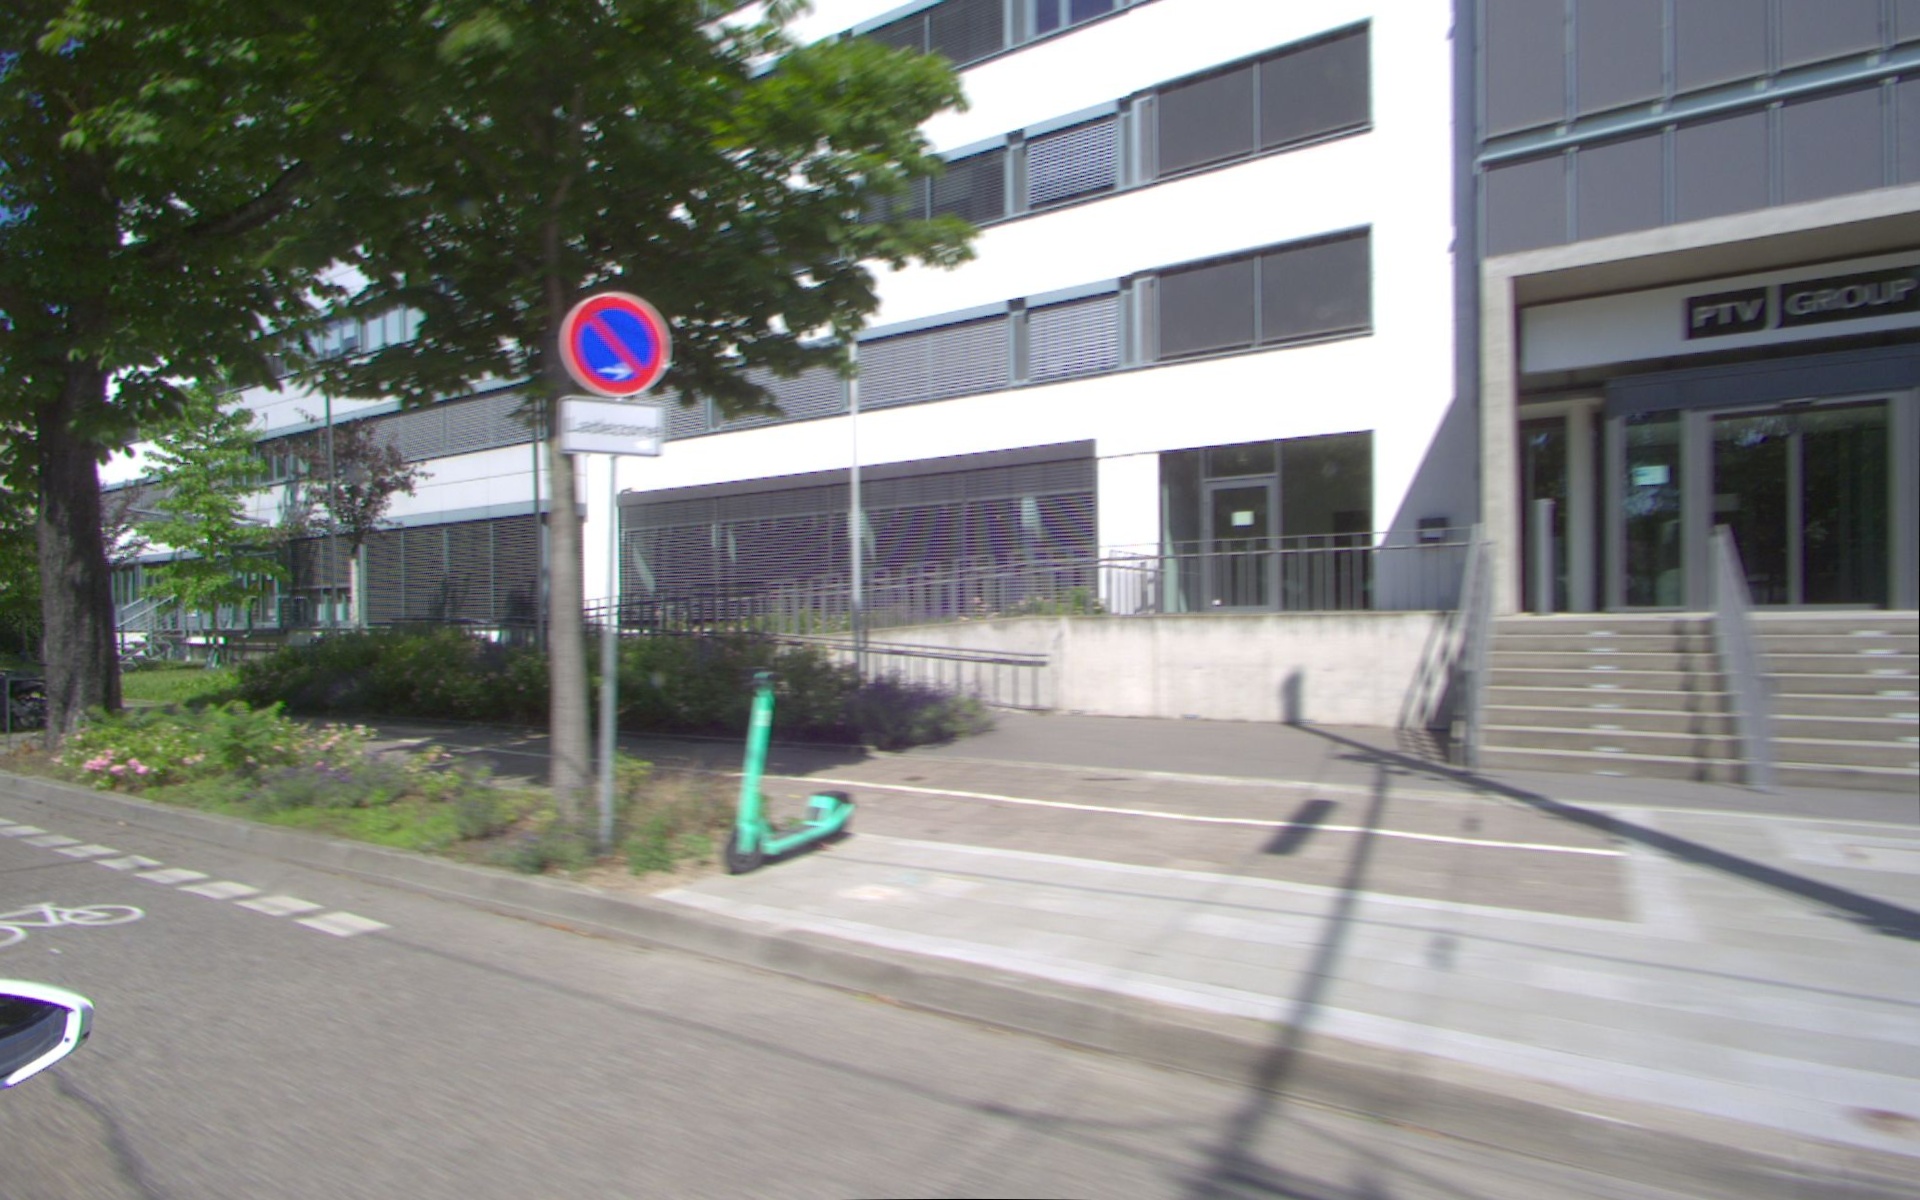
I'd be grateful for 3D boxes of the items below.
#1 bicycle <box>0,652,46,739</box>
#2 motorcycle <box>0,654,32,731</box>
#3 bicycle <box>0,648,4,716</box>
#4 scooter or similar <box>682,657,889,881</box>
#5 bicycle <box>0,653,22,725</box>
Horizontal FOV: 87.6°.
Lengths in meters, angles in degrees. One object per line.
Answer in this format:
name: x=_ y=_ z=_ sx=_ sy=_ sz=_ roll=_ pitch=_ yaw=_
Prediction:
bicycle: x=-12.926 y=1.247 z=12.778 sx=0.778 sy=1.100 sz=1.721 roll=-1 pitch=-1 yaw=31
motorcycle: x=-14.549 y=1.360 z=14.353 sx=0.649 sy=1.100 sz=1.721 roll=-1 pitch=-1 yaw=31
bicycle: x=-16.346 y=1.341 z=15.738 sx=0.716 sy=1.100 sz=1.790 roll=-1 pitch=-1 yaw=31
scooter or similar: x=-1.048 y=0.971 z=6.180 sx=0.666 sy=1.182 sz=1.123 roll=-1 pitch=0 yaw=34
bicycle: x=-15.589 y=1.398 z=15.301 sx=0.630 sy=1.100 sz=1.721 roll=-1 pitch=-1 yaw=31
